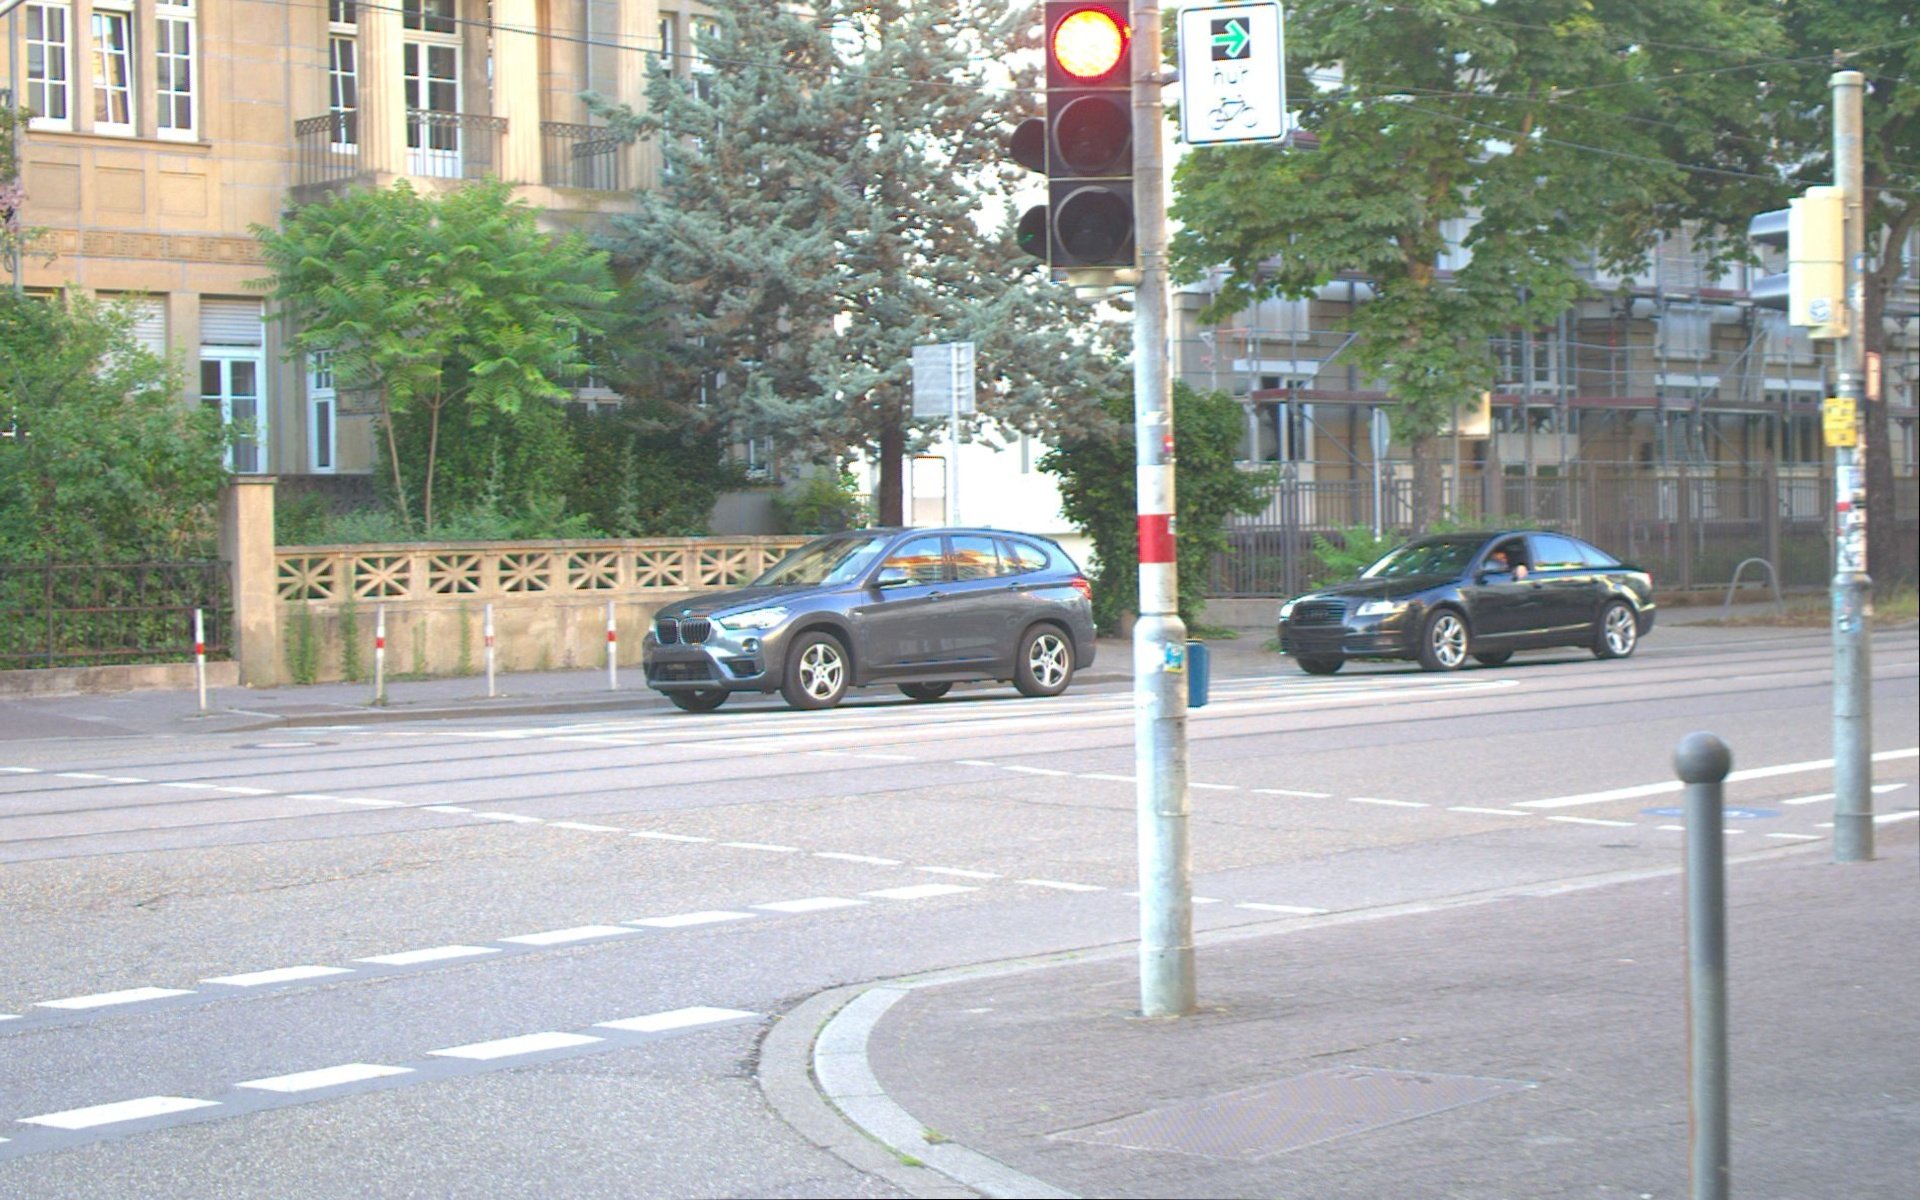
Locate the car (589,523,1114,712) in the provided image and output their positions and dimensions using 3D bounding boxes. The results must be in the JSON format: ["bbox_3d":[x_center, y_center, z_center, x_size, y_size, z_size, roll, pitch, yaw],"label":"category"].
[{"bbox_3d":[-0.904,0.108,30.485,4.407,1.504,1.949,-2,2,-42],"label":"car"}]

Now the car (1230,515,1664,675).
[{"bbox_3d":[5.139,-0.089,35.914,4.619,1.504,1.949,-2,2,-42],"label":"car"}]
